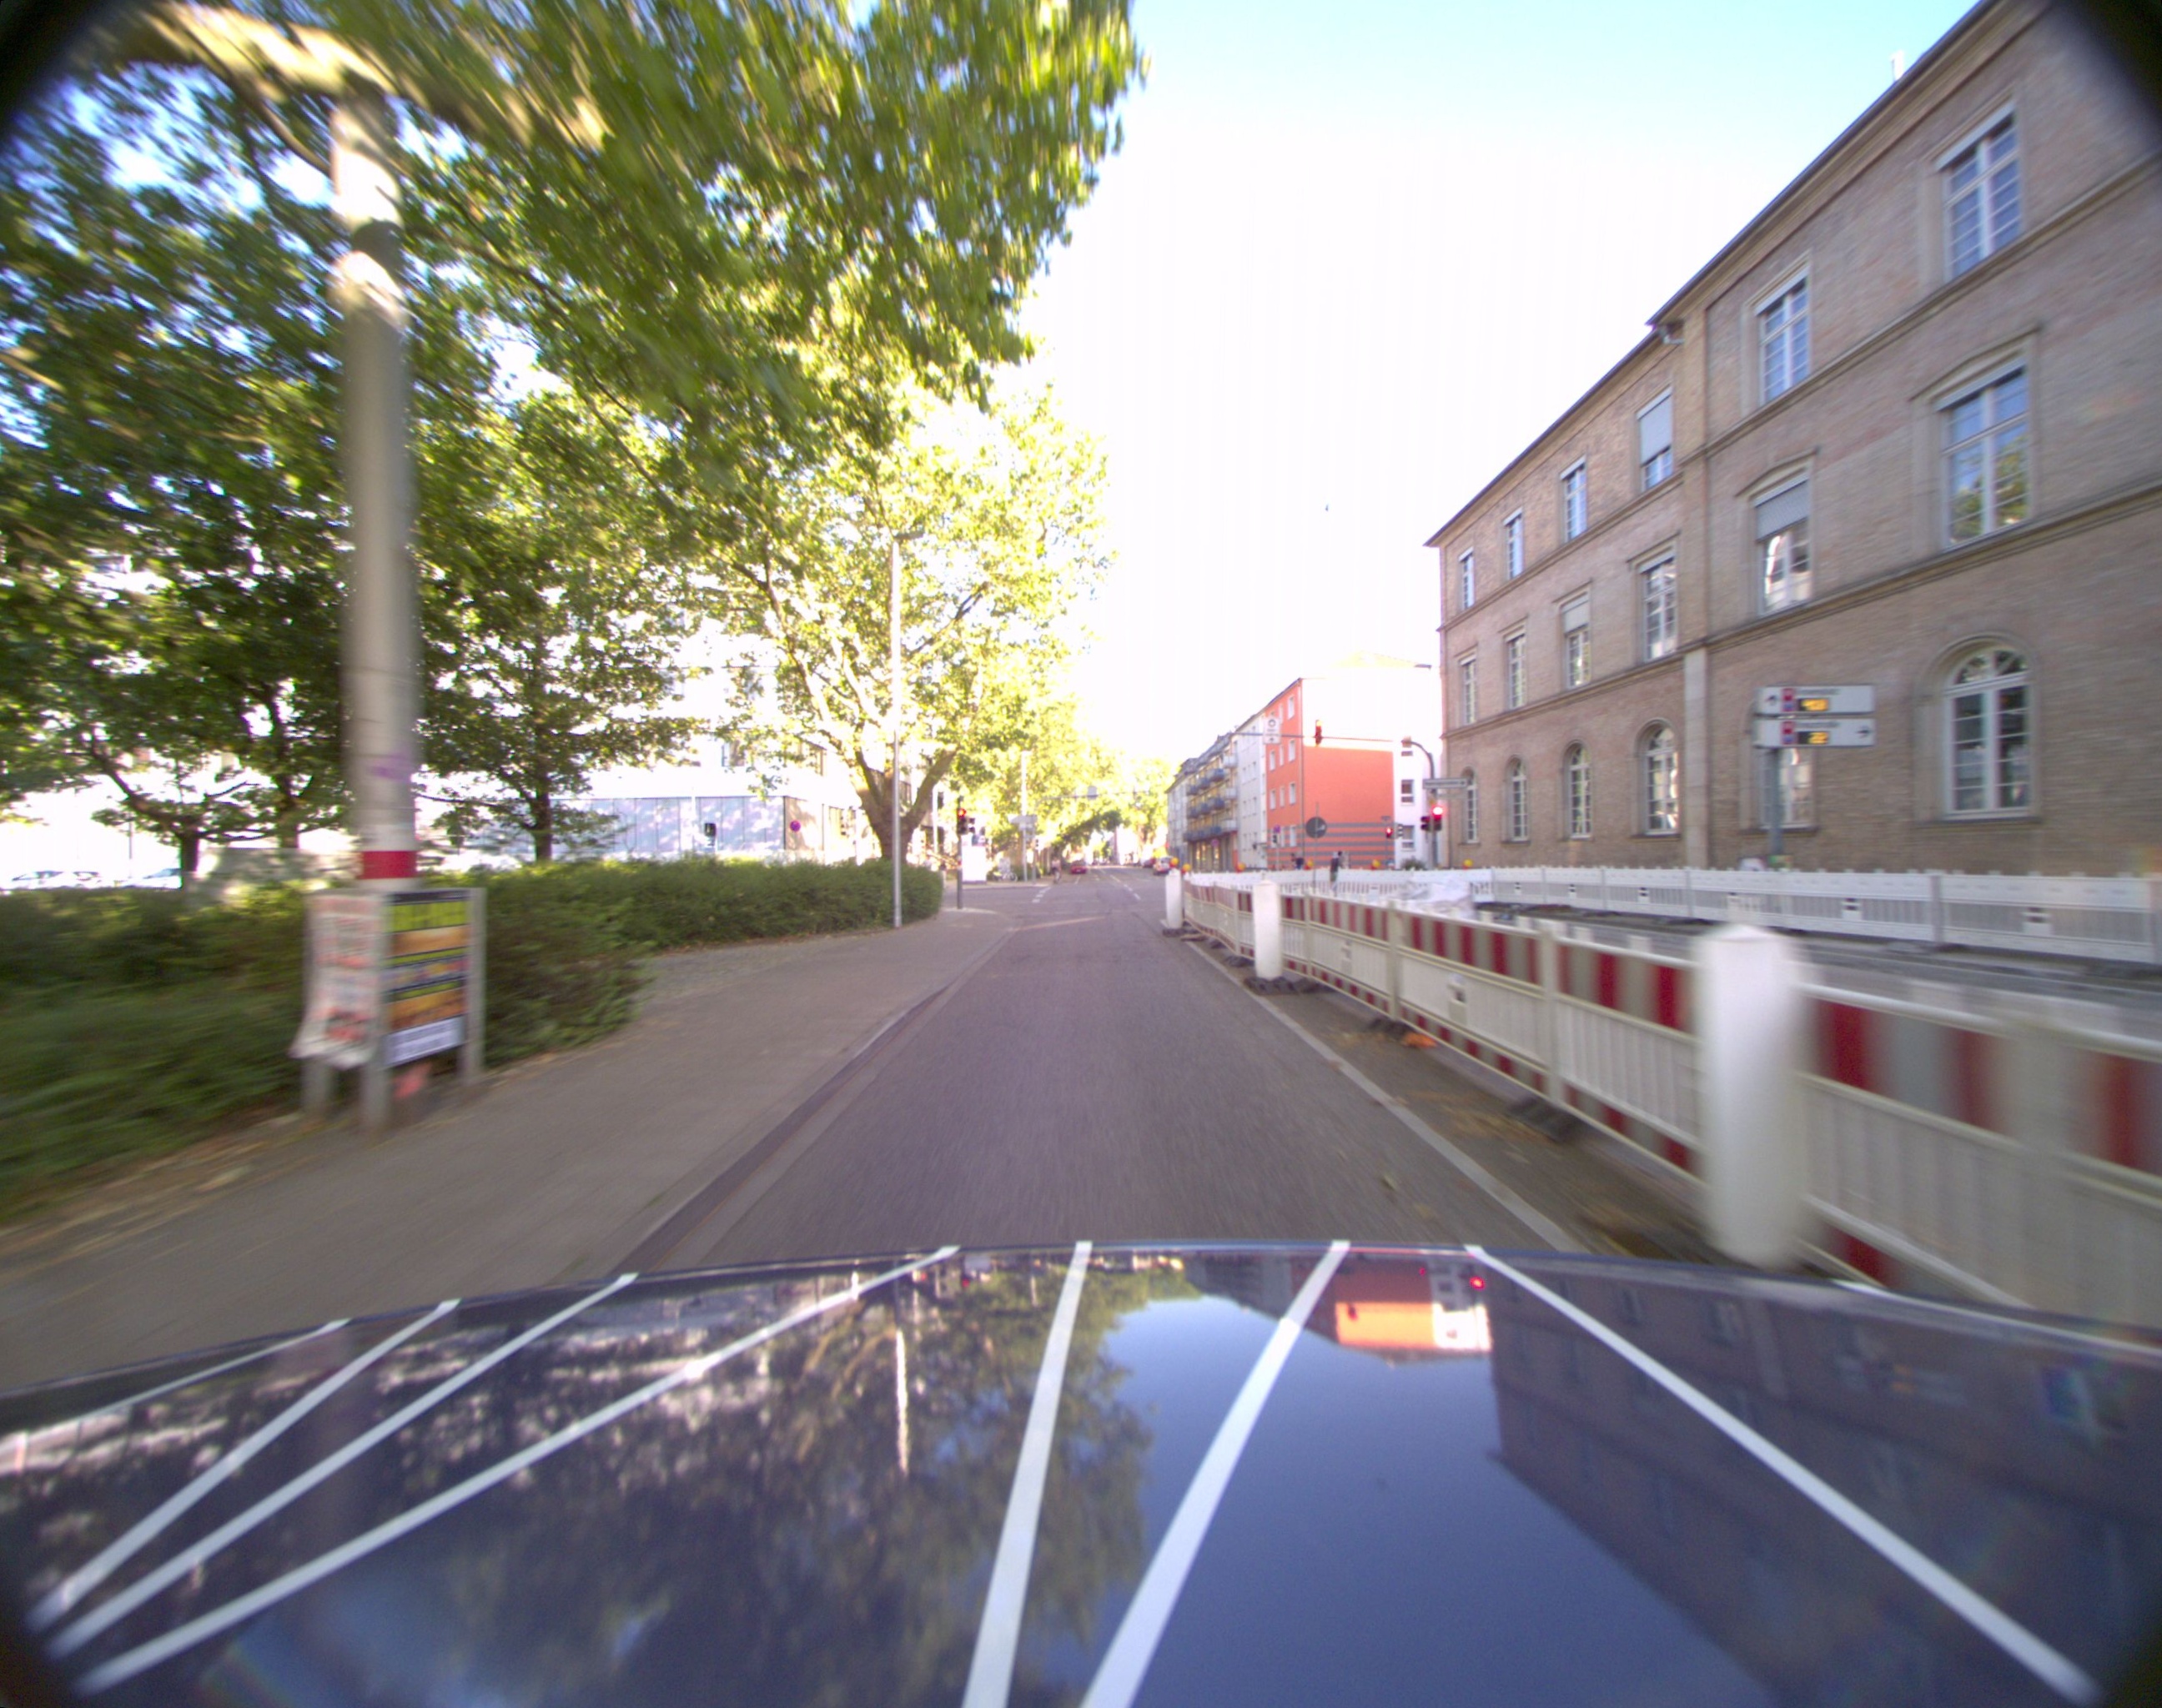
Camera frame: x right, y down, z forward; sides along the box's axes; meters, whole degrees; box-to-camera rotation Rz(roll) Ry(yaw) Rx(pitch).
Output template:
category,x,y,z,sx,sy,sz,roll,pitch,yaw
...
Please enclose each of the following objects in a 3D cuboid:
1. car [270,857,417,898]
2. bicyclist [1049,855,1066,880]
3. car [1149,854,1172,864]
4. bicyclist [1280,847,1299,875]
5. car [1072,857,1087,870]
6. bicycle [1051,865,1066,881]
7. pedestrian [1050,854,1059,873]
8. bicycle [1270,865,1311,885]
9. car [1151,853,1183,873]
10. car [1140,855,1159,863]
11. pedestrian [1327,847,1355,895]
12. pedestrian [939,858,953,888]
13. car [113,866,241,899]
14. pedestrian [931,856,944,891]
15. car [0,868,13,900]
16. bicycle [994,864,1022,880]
category,x,y,z,sx,sy,sz,roll,pitch,yaw
car,-34.556,1.084,35.716,4.717,1.818,2.109,0,0,-2
bicyclist,-1.590,0.932,51.851,0.949,1.630,1.008,-2,0,8
car,14.625,0.883,139.697,3.996,1.689,1.834,-1,0,2
bicyclist,10.575,0.359,38.546,0.837,1.364,0.793,1,-1,13
car,-0.223,1.193,93.212,1.786,1.520,4.657,-1,0,-1
bicycle,-1.530,1.297,51.877,0.703,1.060,1.930,-1,-2,8
pedestrian,-2.488,0.908,72.560,0.671,1.786,0.665,-5,1,-6
bicycle,10.596,1.066,38.515,1.989,0.993,0.791,0,-2,13
car,8.017,0.804,71.318,1.999,1.806,5.123,0,-1,-5
car,14.969,1.039,165.043,3.996,1.689,1.834,-1,0,2
pedestrian,9.785,0.638,28.580,0.883,1.761,0.748,-1,0,10
pedestrian,-7.082,0.989,39.844,0.673,1.515,0.560,-1,0,-11
car,-41.837,1.296,35.215,3.848,1.476,1.630,0,0,-2
pedestrian,-7.518,1.004,39.759,0.604,1.828,0.569,-1,0,-15
car,-51.330,1.385,34.295,3.848,1.476,1.630,0,0,-2
bicycle,-4.767,1.187,49.692,1.638,0.993,0.621,1,2,-25
